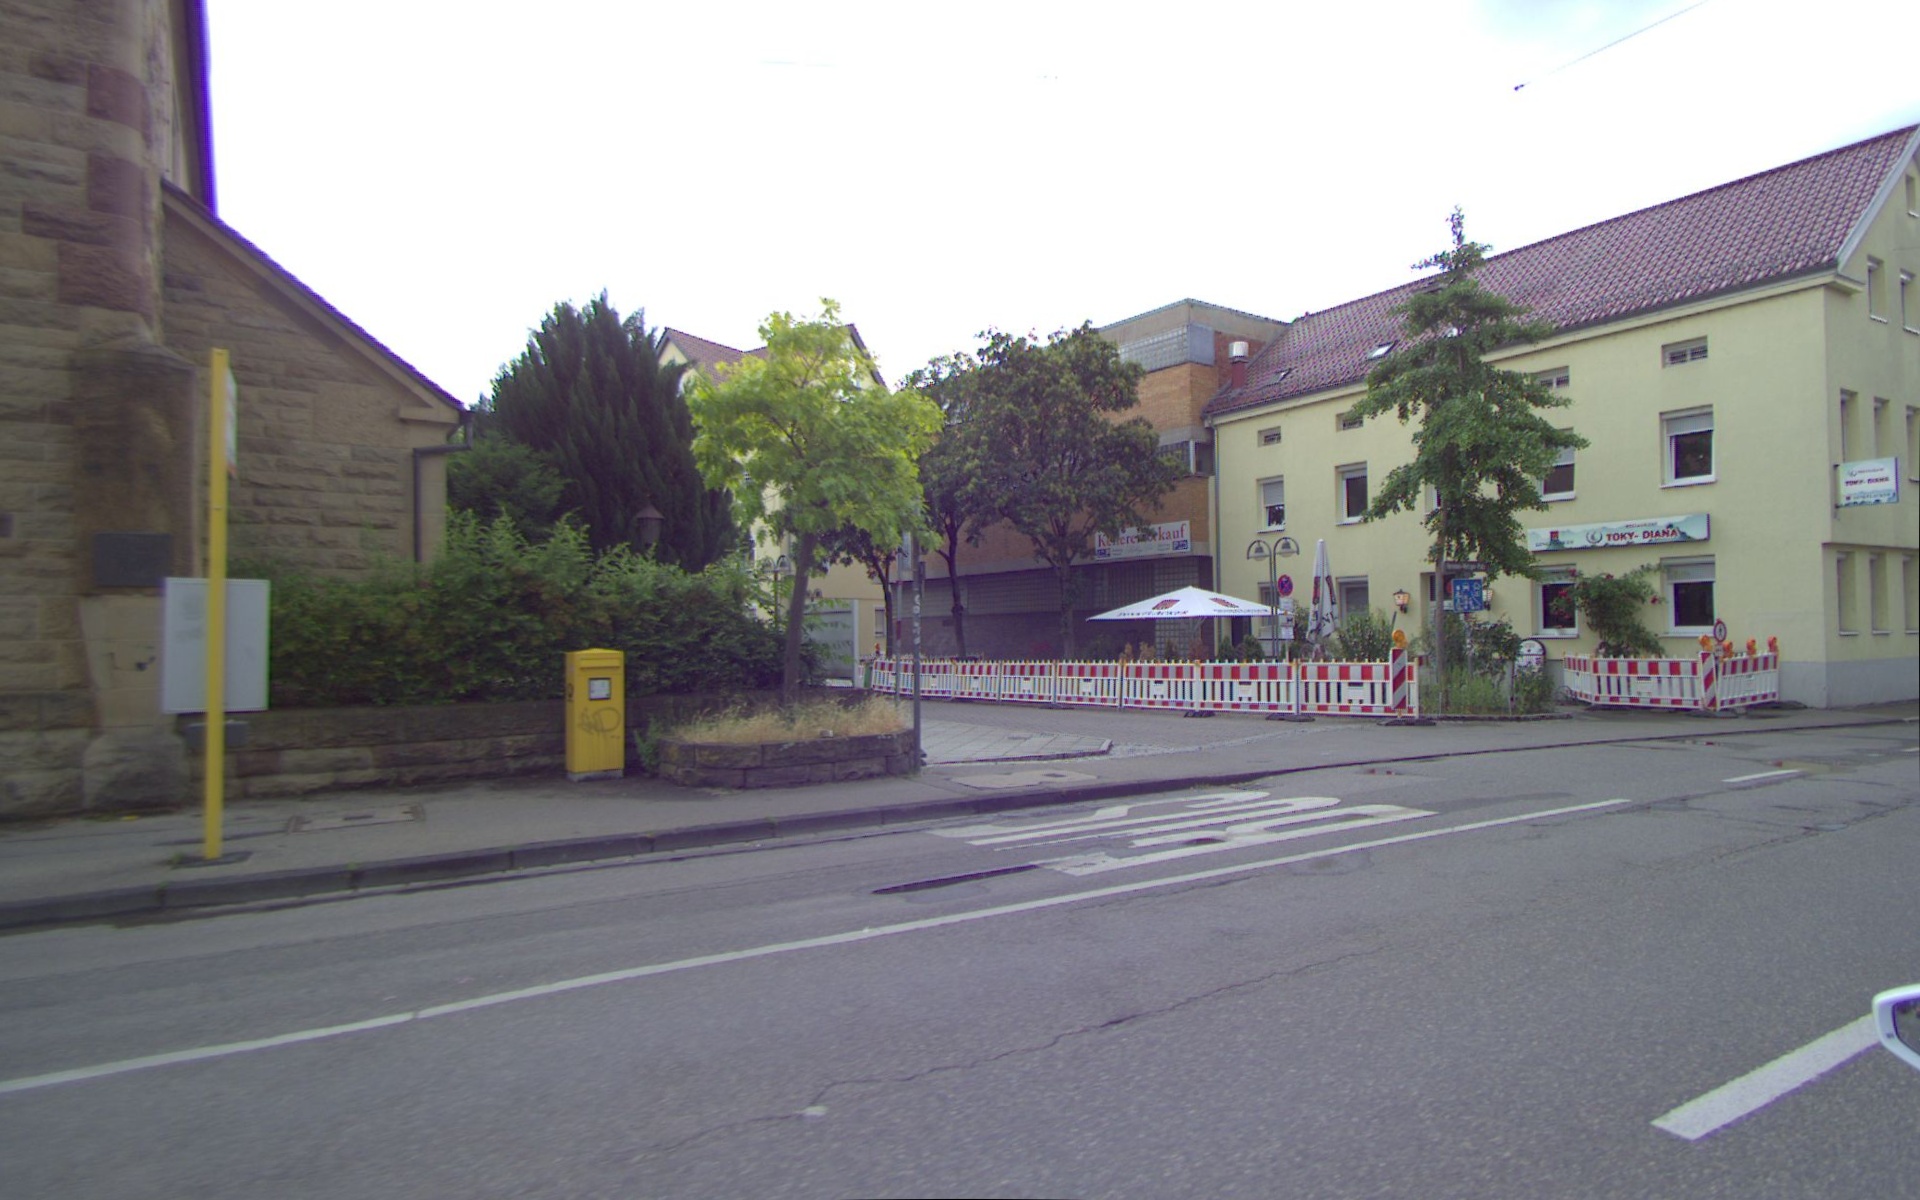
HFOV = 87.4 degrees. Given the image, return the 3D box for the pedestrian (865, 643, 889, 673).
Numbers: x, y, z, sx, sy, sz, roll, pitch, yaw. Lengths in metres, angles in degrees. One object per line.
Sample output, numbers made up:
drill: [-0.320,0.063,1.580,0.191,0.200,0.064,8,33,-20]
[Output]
pedestrian: [-3.572,2.488,43.309,0.779,1.249,0.782,1,-1,-31]
